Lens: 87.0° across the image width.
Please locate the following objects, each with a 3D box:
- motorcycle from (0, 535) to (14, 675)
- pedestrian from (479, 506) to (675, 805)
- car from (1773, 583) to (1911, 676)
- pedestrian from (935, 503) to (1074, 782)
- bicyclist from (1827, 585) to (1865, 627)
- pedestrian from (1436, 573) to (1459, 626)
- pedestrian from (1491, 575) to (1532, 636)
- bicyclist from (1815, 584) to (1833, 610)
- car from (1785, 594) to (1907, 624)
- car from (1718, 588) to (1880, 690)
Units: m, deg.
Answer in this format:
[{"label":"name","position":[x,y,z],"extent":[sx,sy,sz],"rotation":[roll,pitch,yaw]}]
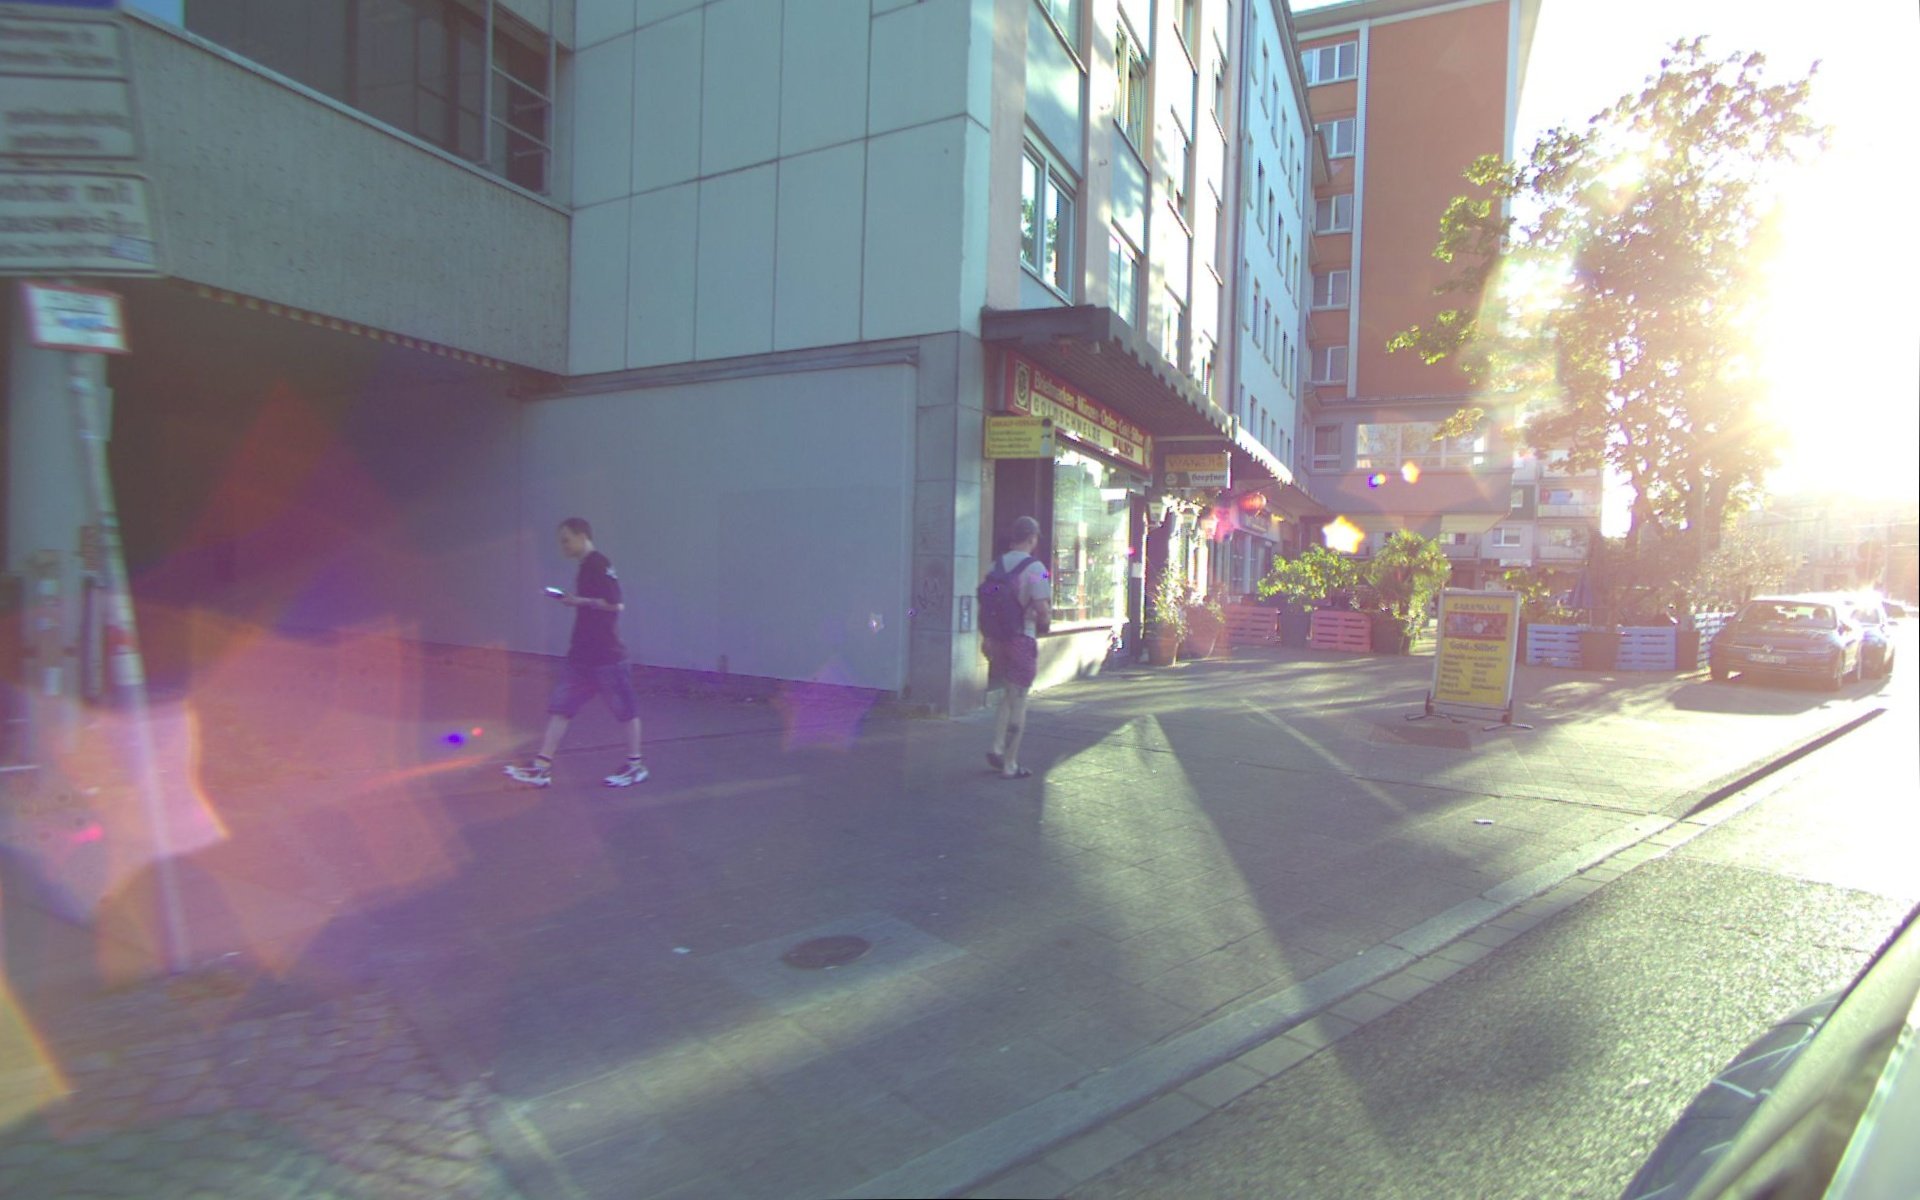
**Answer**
[{"label":"motorcycle","position":[-9.016,0.069,8.776],"extent":[0.655,1.309,1.801],"rotation":[1,2,-25]},{"label":"pedestrian","position":[-2.299,0.293,6.133],"extent":[0.634,1.647,0.849],"rotation":[4,2,26]},{"label":"car","position":[18.329,0.537,20.943],"extent":[4.734,1.691,1.806],"rotation":[0,1,-45]},{"label":"pedestrian","position":[0.325,0.259,7.063],"extent":[0.634,1.808,0.849],"rotation":[2,1,26]},{"label":"bicyclist","position":[32.685,0.218,37.357],"extent":[0.788,1.499,0.802],"rotation":[1,0,19]},{"label":"pedestrian","position":[16.259,-0.033,33.744],"extent":[0.649,1.746,0.870],"rotation":[1,0,24]},{"label":"pedestrian","position":[16.369,0.143,30.049],"extent":[0.882,1.747,0.769],"rotation":[2,1,18]},{"label":"bicyclist","position":[54.451,-0.179,63.798],"extent":[0.728,1.588,0.814],"rotation":[1,0,31]},{"label":"car","position":[49.755,0.476,56.971],"extent":[4.998,1.527,1.702],"rotation":[1,1,37]},{"label":"car","position":[14.646,0.597,17.594],"extent":[3.997,1.554,1.652],"rotation":[0,1,-43]}]
